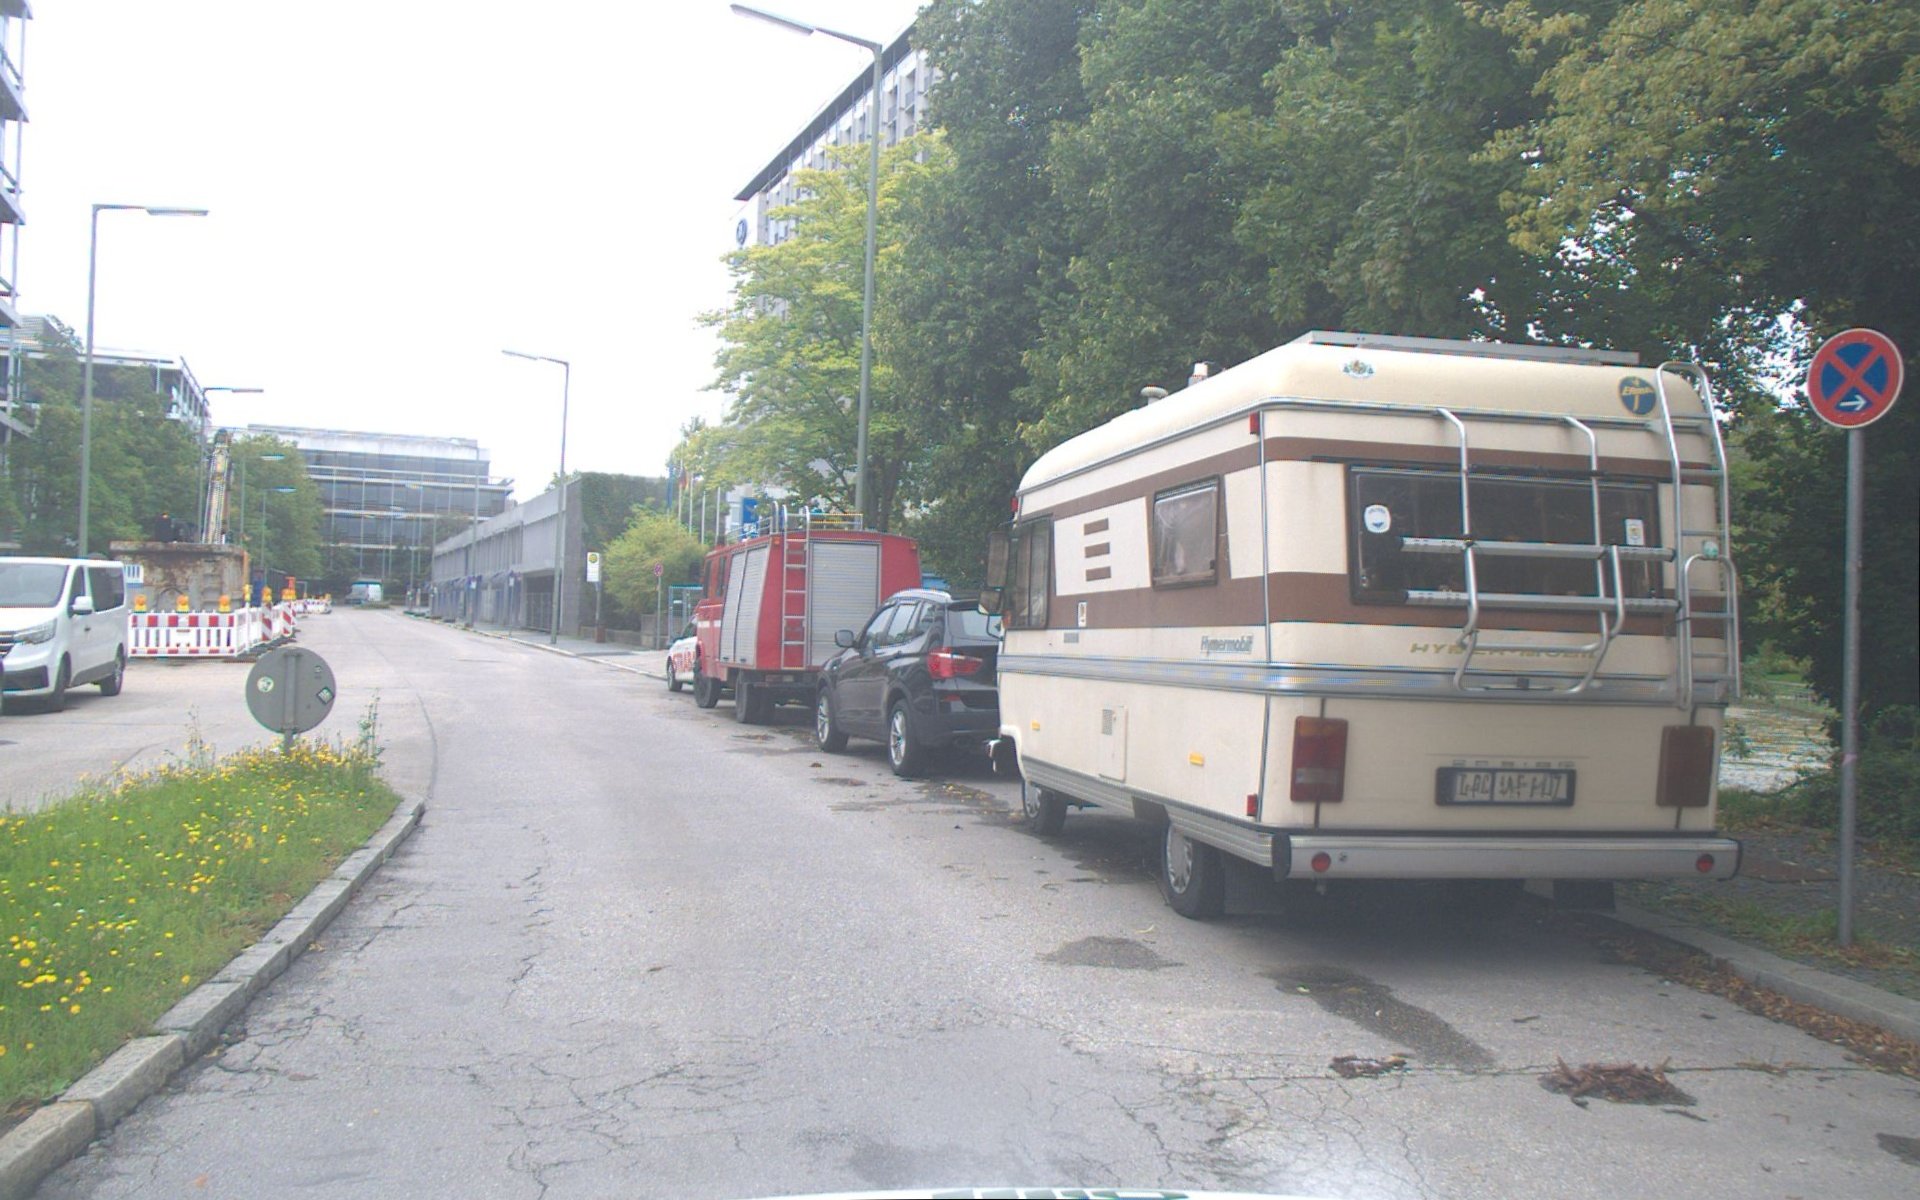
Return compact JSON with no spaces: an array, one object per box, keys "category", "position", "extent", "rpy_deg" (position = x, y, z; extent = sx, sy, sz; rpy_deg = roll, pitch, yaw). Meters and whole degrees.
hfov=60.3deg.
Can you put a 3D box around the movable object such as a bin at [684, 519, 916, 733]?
[{"category":"movable object such as a bin","position":[-2.390,0.328,22.753],"extent":[2.070,2.501,6.160],"rpy_deg":[2,-1,-16]}]

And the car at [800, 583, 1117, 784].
[{"category":"car","position":[-0.188,0.717,16.167],"extent":[1.749,1.678,4.436],"rpy_deg":[2,-1,-19]}]

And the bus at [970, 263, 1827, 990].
[{"category":"bus","position":[1.813,0.138,9.294],"extent":[2.274,2.746,5.717],"rpy_deg":[2,-1,-12]}]

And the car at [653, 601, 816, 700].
[{"category":"car","position":[-4.031,0.837,28.959],"extent":[1.752,1.577,4.227],"rpy_deg":[2,-1,-23]}]

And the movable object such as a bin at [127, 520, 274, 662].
[{"category":"movable object such as a bin","position":[-22.410,-0.277,49.256],"extent":[3.194,3.781,8.953],"rpy_deg":[2,0,-20]}]

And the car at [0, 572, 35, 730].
[{"category":"car","position":[-11.346,0.548,17.096],"extent":[1.960,1.758,4.433],"rpy_deg":[2,0,-14]}]

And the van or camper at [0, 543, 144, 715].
[{"category":"van or camper","position":[-12.650,0.310,22.256],"extent":[1.961,2.049,5.354],"rpy_deg":[2,0,-16]}]
